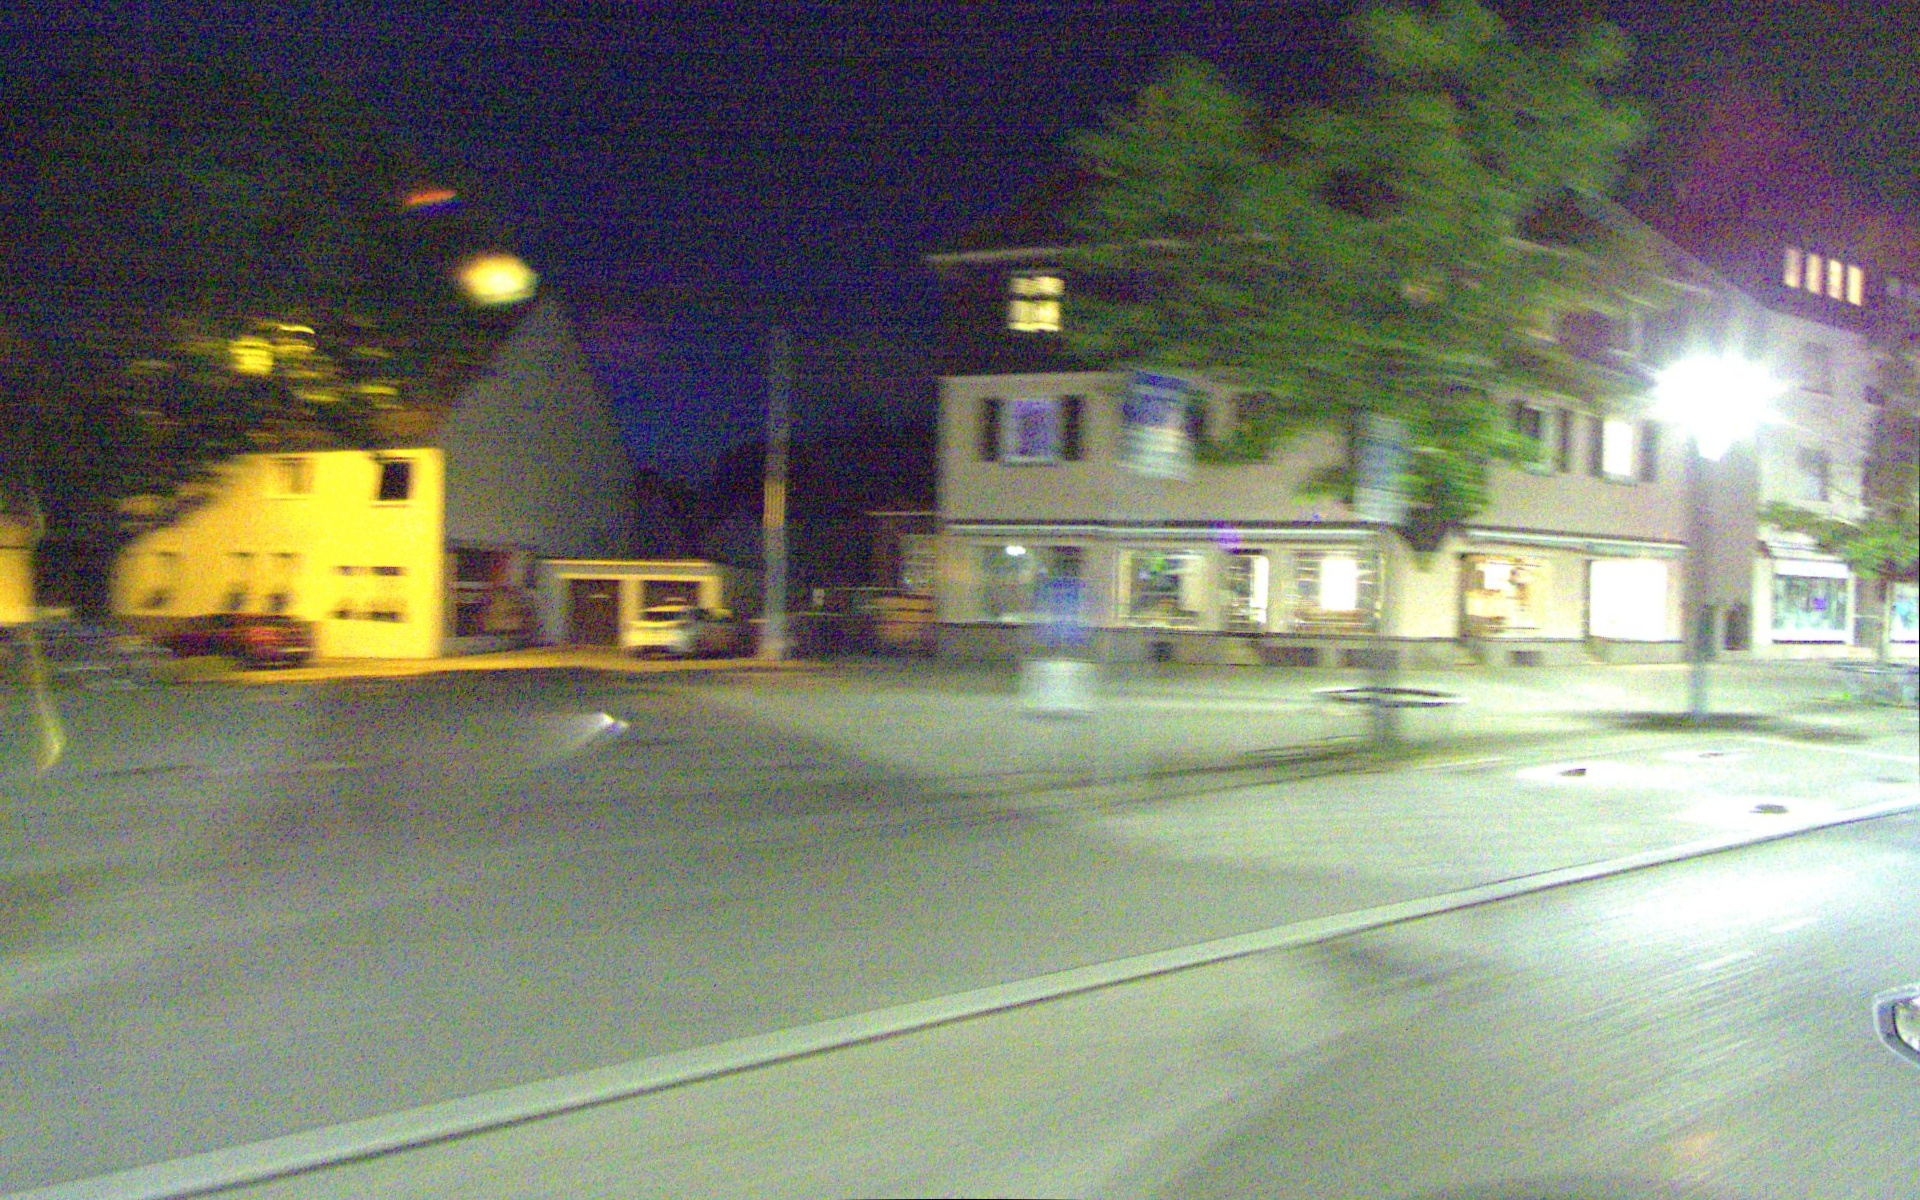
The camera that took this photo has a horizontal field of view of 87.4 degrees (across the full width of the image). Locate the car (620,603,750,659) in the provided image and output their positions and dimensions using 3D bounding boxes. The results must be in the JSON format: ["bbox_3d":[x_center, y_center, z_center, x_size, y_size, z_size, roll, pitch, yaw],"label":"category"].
[{"bbox_3d":[-7.632,0.823,28.331,1.882,1.461,4.002,0,-1,12],"label":"car"}]

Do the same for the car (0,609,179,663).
[{"bbox_3d":[-23.654,0.965,27.276,3.919,1.394,1.822,0,-1,14],"label":"car"}]

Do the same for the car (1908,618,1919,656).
[{"bbox_3d":[38.091,1.361,37.050,1.816,1.457,4.155,1,-3,-26],"label":"car"}]

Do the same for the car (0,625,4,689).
[{"bbox_3d":[-22.937,1.221,21.459,3.919,1.394,1.822,0,-1,14],"label":"car"}]

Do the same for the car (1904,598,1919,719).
[{"bbox_3d":[16.280,0.923,14.809,4.942,1.714,2.008,1,2,-29],"label":"car"}]

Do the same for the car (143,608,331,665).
[{"bbox_3d":[-18.525,0.931,25.783,3.919,1.394,1.822,0,-1,14],"label":"car"}]
